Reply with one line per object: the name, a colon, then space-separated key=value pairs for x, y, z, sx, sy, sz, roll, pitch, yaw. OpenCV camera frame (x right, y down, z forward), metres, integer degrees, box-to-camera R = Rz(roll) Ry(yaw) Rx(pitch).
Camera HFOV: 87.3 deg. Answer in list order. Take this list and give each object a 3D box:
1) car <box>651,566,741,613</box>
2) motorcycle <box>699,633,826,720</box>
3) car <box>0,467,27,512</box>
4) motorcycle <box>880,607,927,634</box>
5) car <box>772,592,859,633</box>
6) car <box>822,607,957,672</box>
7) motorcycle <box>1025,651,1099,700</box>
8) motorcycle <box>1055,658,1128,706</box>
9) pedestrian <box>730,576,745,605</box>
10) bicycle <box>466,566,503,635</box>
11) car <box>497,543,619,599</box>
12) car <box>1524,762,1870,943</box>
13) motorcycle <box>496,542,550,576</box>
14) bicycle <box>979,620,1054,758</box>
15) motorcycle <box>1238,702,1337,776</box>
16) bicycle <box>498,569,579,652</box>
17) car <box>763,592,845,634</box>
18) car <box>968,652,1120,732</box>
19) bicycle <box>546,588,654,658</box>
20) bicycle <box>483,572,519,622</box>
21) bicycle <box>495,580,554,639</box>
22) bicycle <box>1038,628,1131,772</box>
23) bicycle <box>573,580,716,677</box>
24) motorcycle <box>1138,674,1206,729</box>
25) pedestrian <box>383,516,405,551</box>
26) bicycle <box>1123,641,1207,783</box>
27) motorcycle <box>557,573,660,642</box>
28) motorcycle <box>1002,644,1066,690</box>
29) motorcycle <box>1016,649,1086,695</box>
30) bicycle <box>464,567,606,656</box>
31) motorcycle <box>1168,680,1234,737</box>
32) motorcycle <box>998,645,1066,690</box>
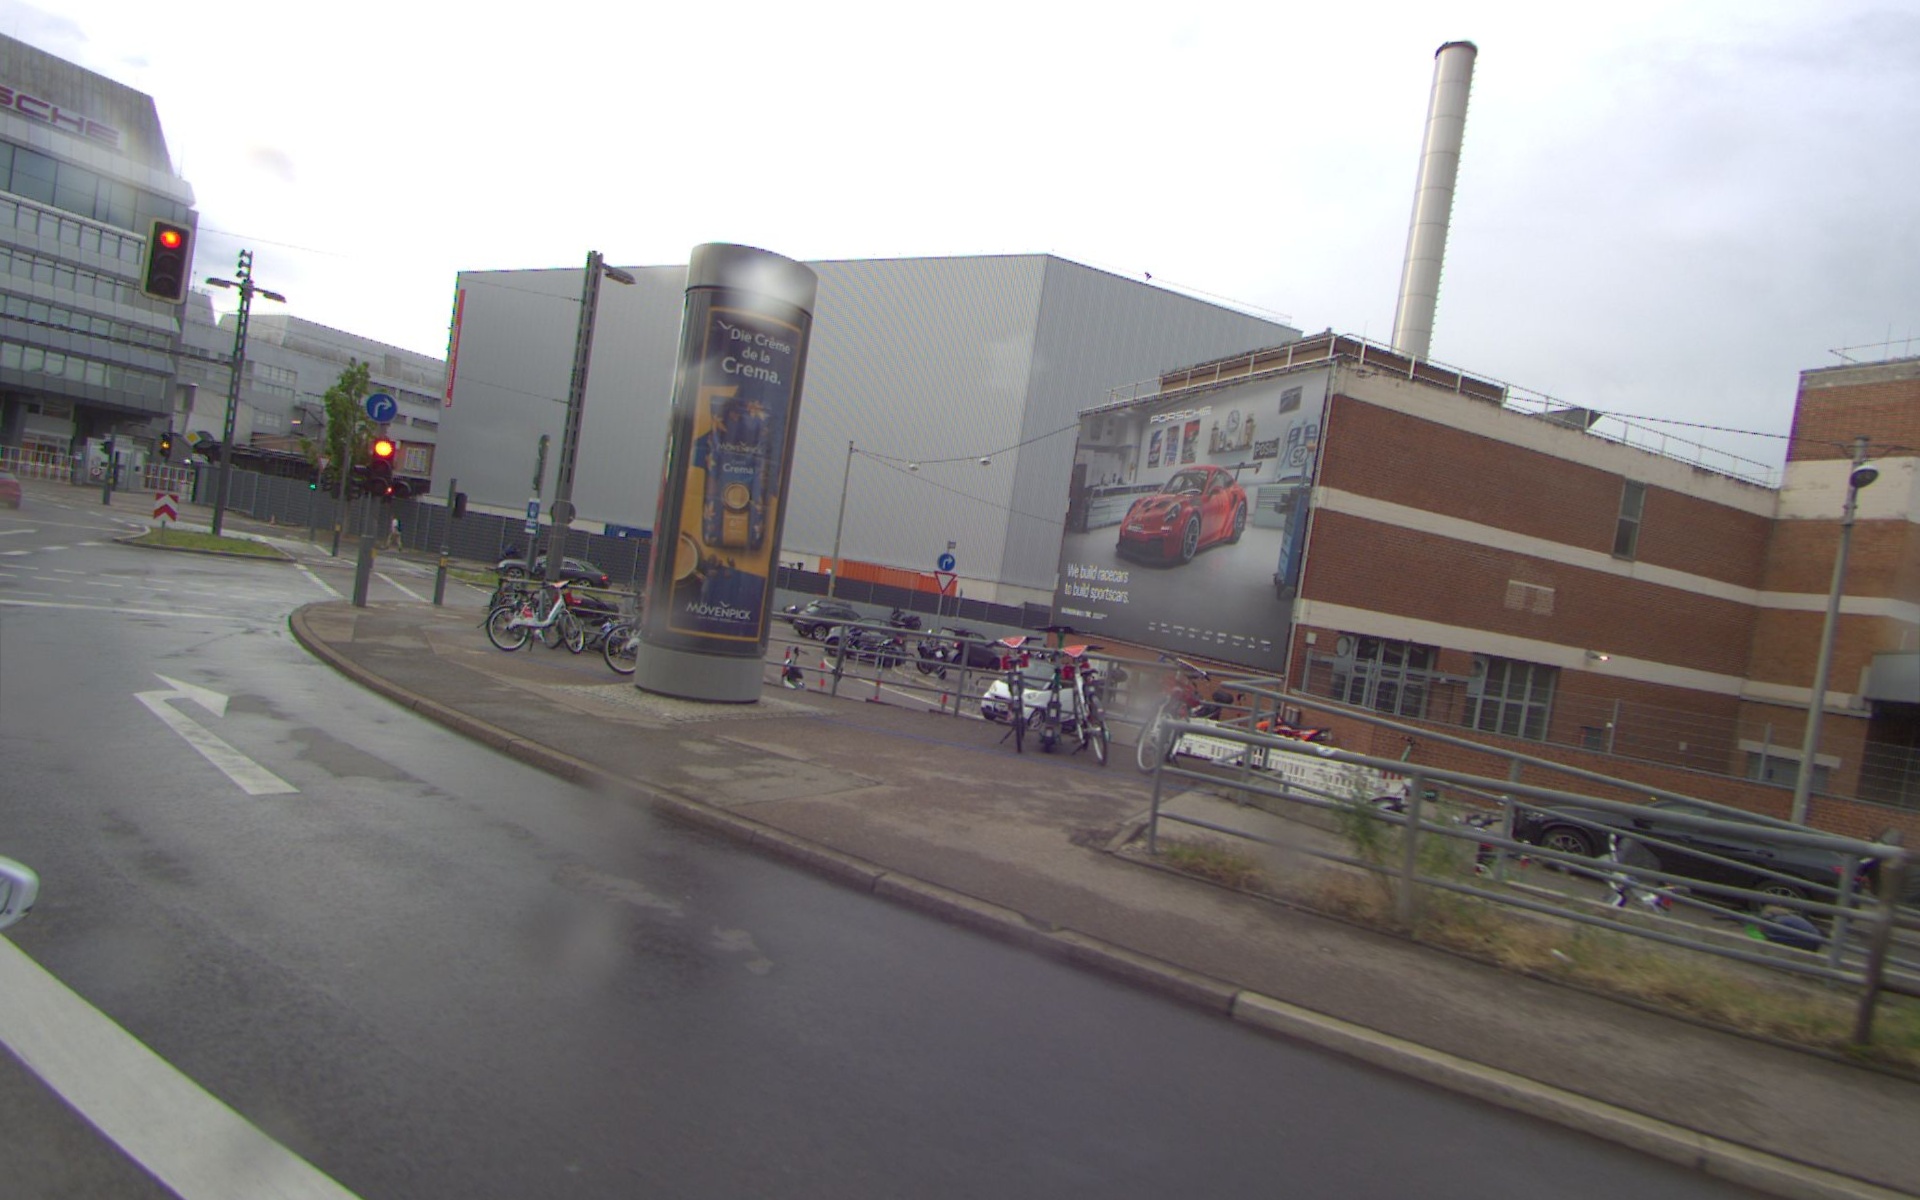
car: x=-12.761 y=-0.514 z=48.549 sx=3.926 sy=1.620 sz=1.903 roll=9 pitch=-1 yaw=-19
motorcycle: x=-2.923 y=1.109 z=14.863 sx=1.721 sy=1.002 sz=0.698 roll=8 pitch=1 yaw=31
car: x=-35.406 y=-4.126 z=36.298 sx=3.674 sy=1.482 sz=1.773 roll=6 pitch=-1 yaw=35
motorcycle: x=-3.283 y=1.196 z=58.475 sx=2.462 sy=1.201 sz=0.994 roll=8 pitch=0 yaw=-24
car: x=-7.251 y=0.623 z=50.468 sx=3.945 sy=1.409 sz=1.750 roll=9 pitch=0 yaw=-19
car: x=-2.332 y=1.322 z=33.758 sx=4.087 sy=1.547 sz=1.838 roll=8 pitch=-1 yaw=7
motorcycle: x=3.065 y=2.270 z=30.220 sx=1.993 sy=1.206 sz=0.606 roll=6 pitch=3 yaw=-19
motorcycle: x=3.837 y=2.409 z=29.366 sx=1.999 sy=1.206 sz=0.605 roll=6 pitch=4 yaw=-28
pedestrian: x=-11.976 y=-0.510 z=54.106 sx=0.604 sy=1.499 sz=0.422 roll=7 pitch=1 yaw=-13
bicycle: x=-8.711 y=-0.010 z=18.403 sx=0.382 sy=1.133 sz=1.737 roll=6 pitch=0 yaw=-30
car: x=-16.929 y=-1.225 z=42.625 sx=4.521 sy=1.558 sz=1.750 roll=9 pitch=0 yaw=-19
car: x=11.760 y=3.979 z=16.482 sx=4.190 sy=1.628 sz=1.702 roll=10 pitch=0 yaw=30
motorcycle: x=-21.988 y=-2.058 z=50.639 sx=2.327 sy=1.361 sz=0.650 roll=8 pitch=0 yaw=-20
bicycle: x=0.568 y=0.869 z=10.598 sx=0.588 sy=1.239 sz=1.932 roll=7 pitch=0 yaw=2
motorcycle: x=7.730 y=3.266 z=23.836 sx=0.919 sy=1.327 sz=1.967 roll=5 pitch=4 yaw=-31
bicycle: x=-6.910 y=0.144 z=16.441 sx=1.975 sy=1.176 sz=0.384 roll=6 pitch=0 yaw=45
car: x=-6.327 y=0.501 z=40.599 sx=1.603 sy=1.307 sz=3.527 roll=7 pitch=-1 yaw=-40
car: x=2.053 y=2.207 z=23.992 sx=1.669 sy=1.500 sz=3.545 roll=11 pitch=2 yaw=41
bicycle: x=-6.081 y=0.377 z=16.904 sx=2.144 sy=0.916 sz=0.691 roll=6 pitch=-1 yaw=42
bicycle: x=-10.766 y=-0.087 z=23.619 sx=0.380 sy=1.111 sz=1.745 roll=7 pitch=0 yaw=-15
bicycle: x=-8.033 y=0.166 z=18.524 sx=0.528 sy=0.916 sz=1.795 roll=7 pitch=-1 yaw=-36
bicycle: x=1.229 y=0.956 z=10.307 sx=0.588 sy=1.239 sz=1.932 roll=7 pitch=0 yaw=0
bicycle: x=-4.215 y=0.412 z=13.589 sx=0.582 sy=1.176 sz=1.801 roll=7 pitch=0 yaw=33
motorcycle: x=5.694 y=2.690 z=26.982 sx=0.678 sy=1.327 sz=2.010 roll=10 pitch=4 yaw=43
pedestrian: x=-27.725 y=-3.255 z=49.265 sx=0.802 sy=1.630 sz=0.763 roll=6 pitch=0 yaw=-31
bicycle: x=2.072 y=1.039 z=9.991 sx=0.588 sy=1.193 sz=1.933 roll=7 pitch=0 yaw=14
motorcycle: x=-8.959 y=0.198 z=25.689 sx=2.217 sy=1.470 sz=0.748 roll=8 pitch=0 yaw=-38
motorcycle: x=2.469 y=2.222 z=33.591 sx=1.984 sy=1.206 sz=0.609 roll=8 pitch=3 yaw=6
motorcycle: x=2.843 y=2.244 z=31.391 sx=1.993 sy=1.206 sz=0.606 roll=6 pitch=3 yaw=-19
bicycle: x=-6.342 y=0.195 z=15.089 sx=0.668 sy=1.154 sz=1.770 roll=6 pitch=-1 yaw=37
motorcycle: x=6.196 y=2.780 z=25.795 sx=1.858 sy=1.327 sz=0.566 roll=5 pitch=4 yaw=-43
motorcycle: x=2.325 y=2.180 z=32.477 sx=1.992 sy=1.206 sz=0.607 roll=6 pitch=3 yaw=-17
